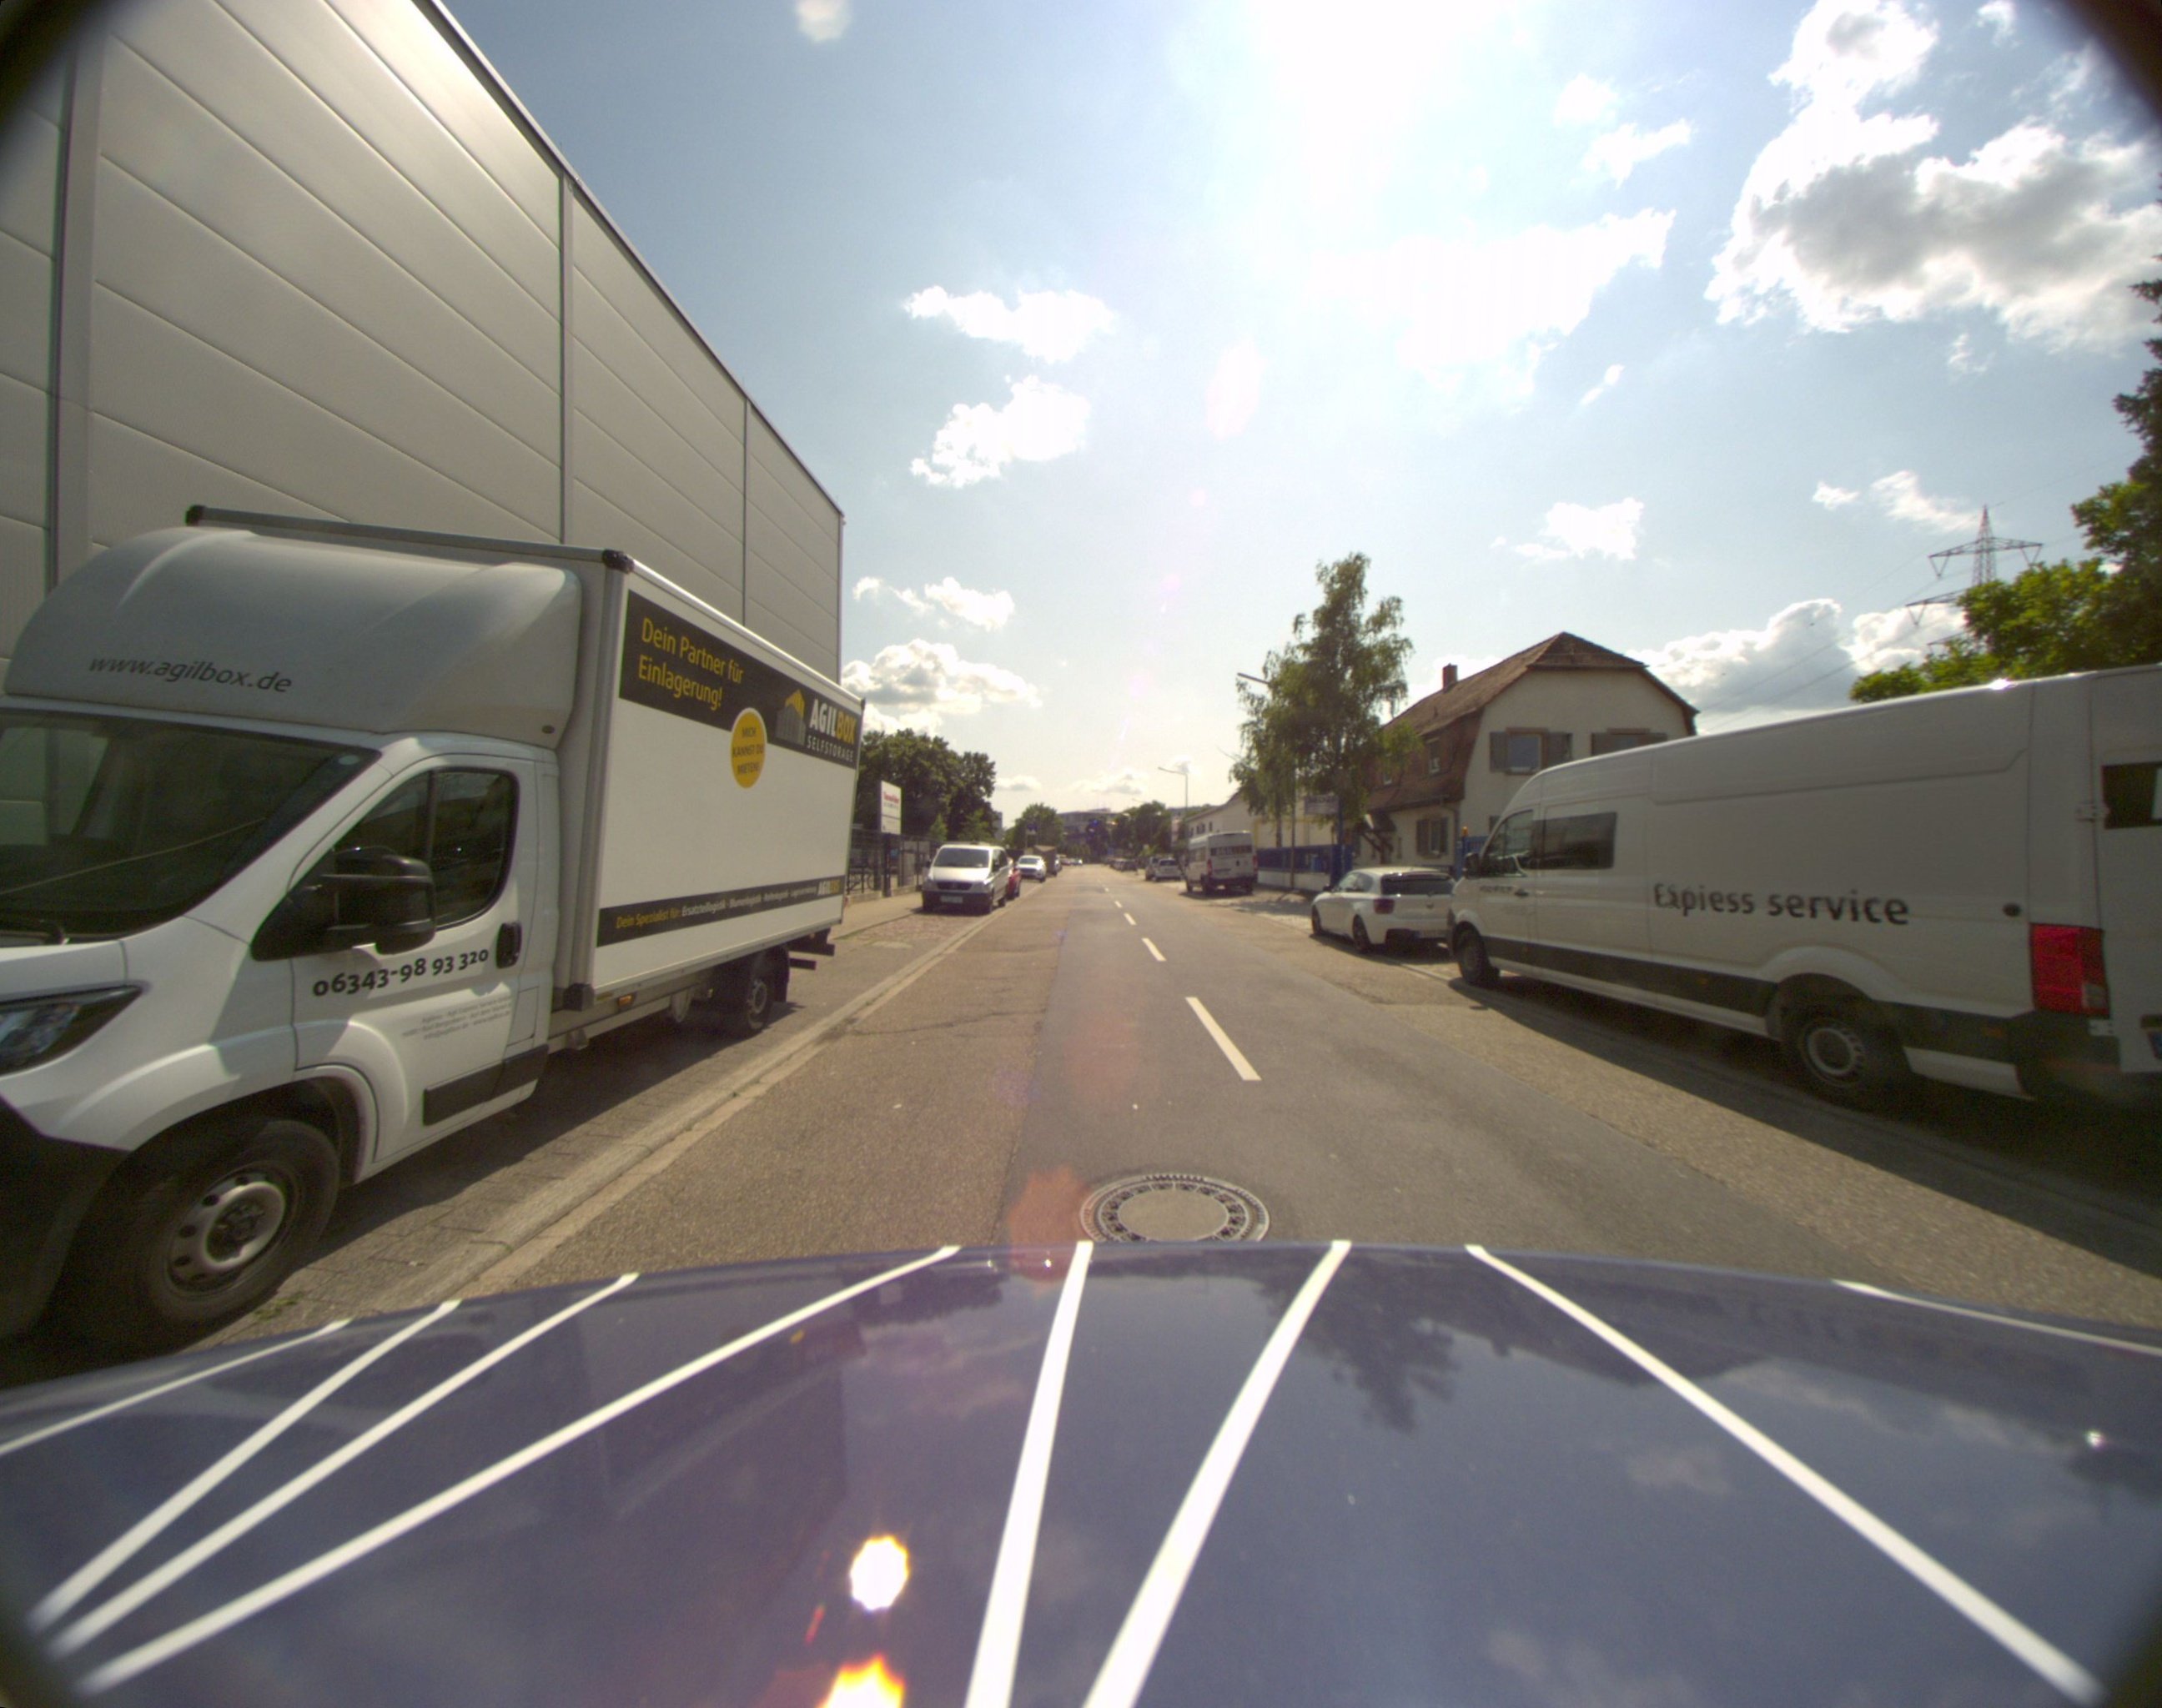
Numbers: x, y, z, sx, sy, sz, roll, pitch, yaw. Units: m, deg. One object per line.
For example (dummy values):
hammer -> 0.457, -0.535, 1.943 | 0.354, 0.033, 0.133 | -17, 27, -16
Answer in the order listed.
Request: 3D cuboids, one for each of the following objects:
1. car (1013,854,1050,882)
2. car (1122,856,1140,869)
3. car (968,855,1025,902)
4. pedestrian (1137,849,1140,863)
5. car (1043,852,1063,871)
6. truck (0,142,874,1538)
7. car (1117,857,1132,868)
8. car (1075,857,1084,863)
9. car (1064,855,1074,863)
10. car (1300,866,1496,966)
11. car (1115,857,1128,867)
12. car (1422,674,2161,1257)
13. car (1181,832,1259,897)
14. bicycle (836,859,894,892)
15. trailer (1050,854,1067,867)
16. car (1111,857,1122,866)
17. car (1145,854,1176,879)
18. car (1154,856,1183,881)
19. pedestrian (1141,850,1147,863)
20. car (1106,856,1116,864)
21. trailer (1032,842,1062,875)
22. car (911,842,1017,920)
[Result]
car -> -3.140, 0.866, 49.018 | 1.940, 1.683, 4.679 | 3, 0, 0
car -> 6.078, 1.018, 92.847 | 1.810, 1.410, 4.496 | -2, 0, -1
car -> -3.166, 0.865, 29.134 | 1.708, 1.615, 4.092 | 2, 0, 0
pedestrian -> 7.960, 0.294, 105.238 | 0.452, 1.883, 0.677 | 0, 1, 0
car -> -3.112, 0.793, 86.366 | 1.998, 2.002, 5.649 | 1, 0, 0
truck -> -3.700, -0.061, 4.947 | 2.464, 3.274, 6.817 | 5, 0, 1
car -> 6.002, 1.192, 105.196 | 1.625, 1.513, 4.174 | 0, 0, -3
car -> -0.303, 1.265, 166.788 | 1.758, 1.211, 4.224 | 0, 0, 0
car -> -2.462, 1.003, 154.455 | 1.758, 1.477, 4.224 | 4, 0, 0
car -> 5.488, 0.989, 13.844 | 1.800, 1.389, 4.502 | -1, 0, 2
car -> 6.120, 1.161, 114.442 | 1.649, 1.468, 4.028 | 0, 0, 0
car -> 5.610, 0.450, 6.743 | 2.032, 2.546, 6.838 | -1, 0, 0
car -> 6.003, 0.408, 33.735 | 2.035, 2.543, 6.655 | -2, 1, -1
bicycle -> -7.791, 0.769, 27.441 | 1.954, 1.136, 0.457 | 2, 0, 3
trailer -> -2.891, 0.832, 96.851 | 1.754, 1.409, 4.547 | 3, 0, -5
car -> 6.357, 1.255, 135.948 | 1.849, 1.499, 4.000 | -3, 0, 0
car -> 5.806, 0.862, 56.203 | 1.795, 1.709, 4.751 | -2, 0, 0
car -> 5.873, 0.974, 51.347 | 1.613, 1.564, 3.009 | -3, 0, 2
pedestrian -> 8.714, 0.364, 105.631 | 0.710, 1.790, 0.916 | 0, 1, 0
car -> 6.447, 1.247, 165.806 | 1.762, 1.565, 4.475 | -1, 0, -3
trailer -> -2.956, 0.354, 67.744 | 2.210, 2.721, 6.221 | 3, 1, 0
car -> -3.266, 0.716, 22.396 | 2.059, 1.892, 5.147 | 4, 0, 2
